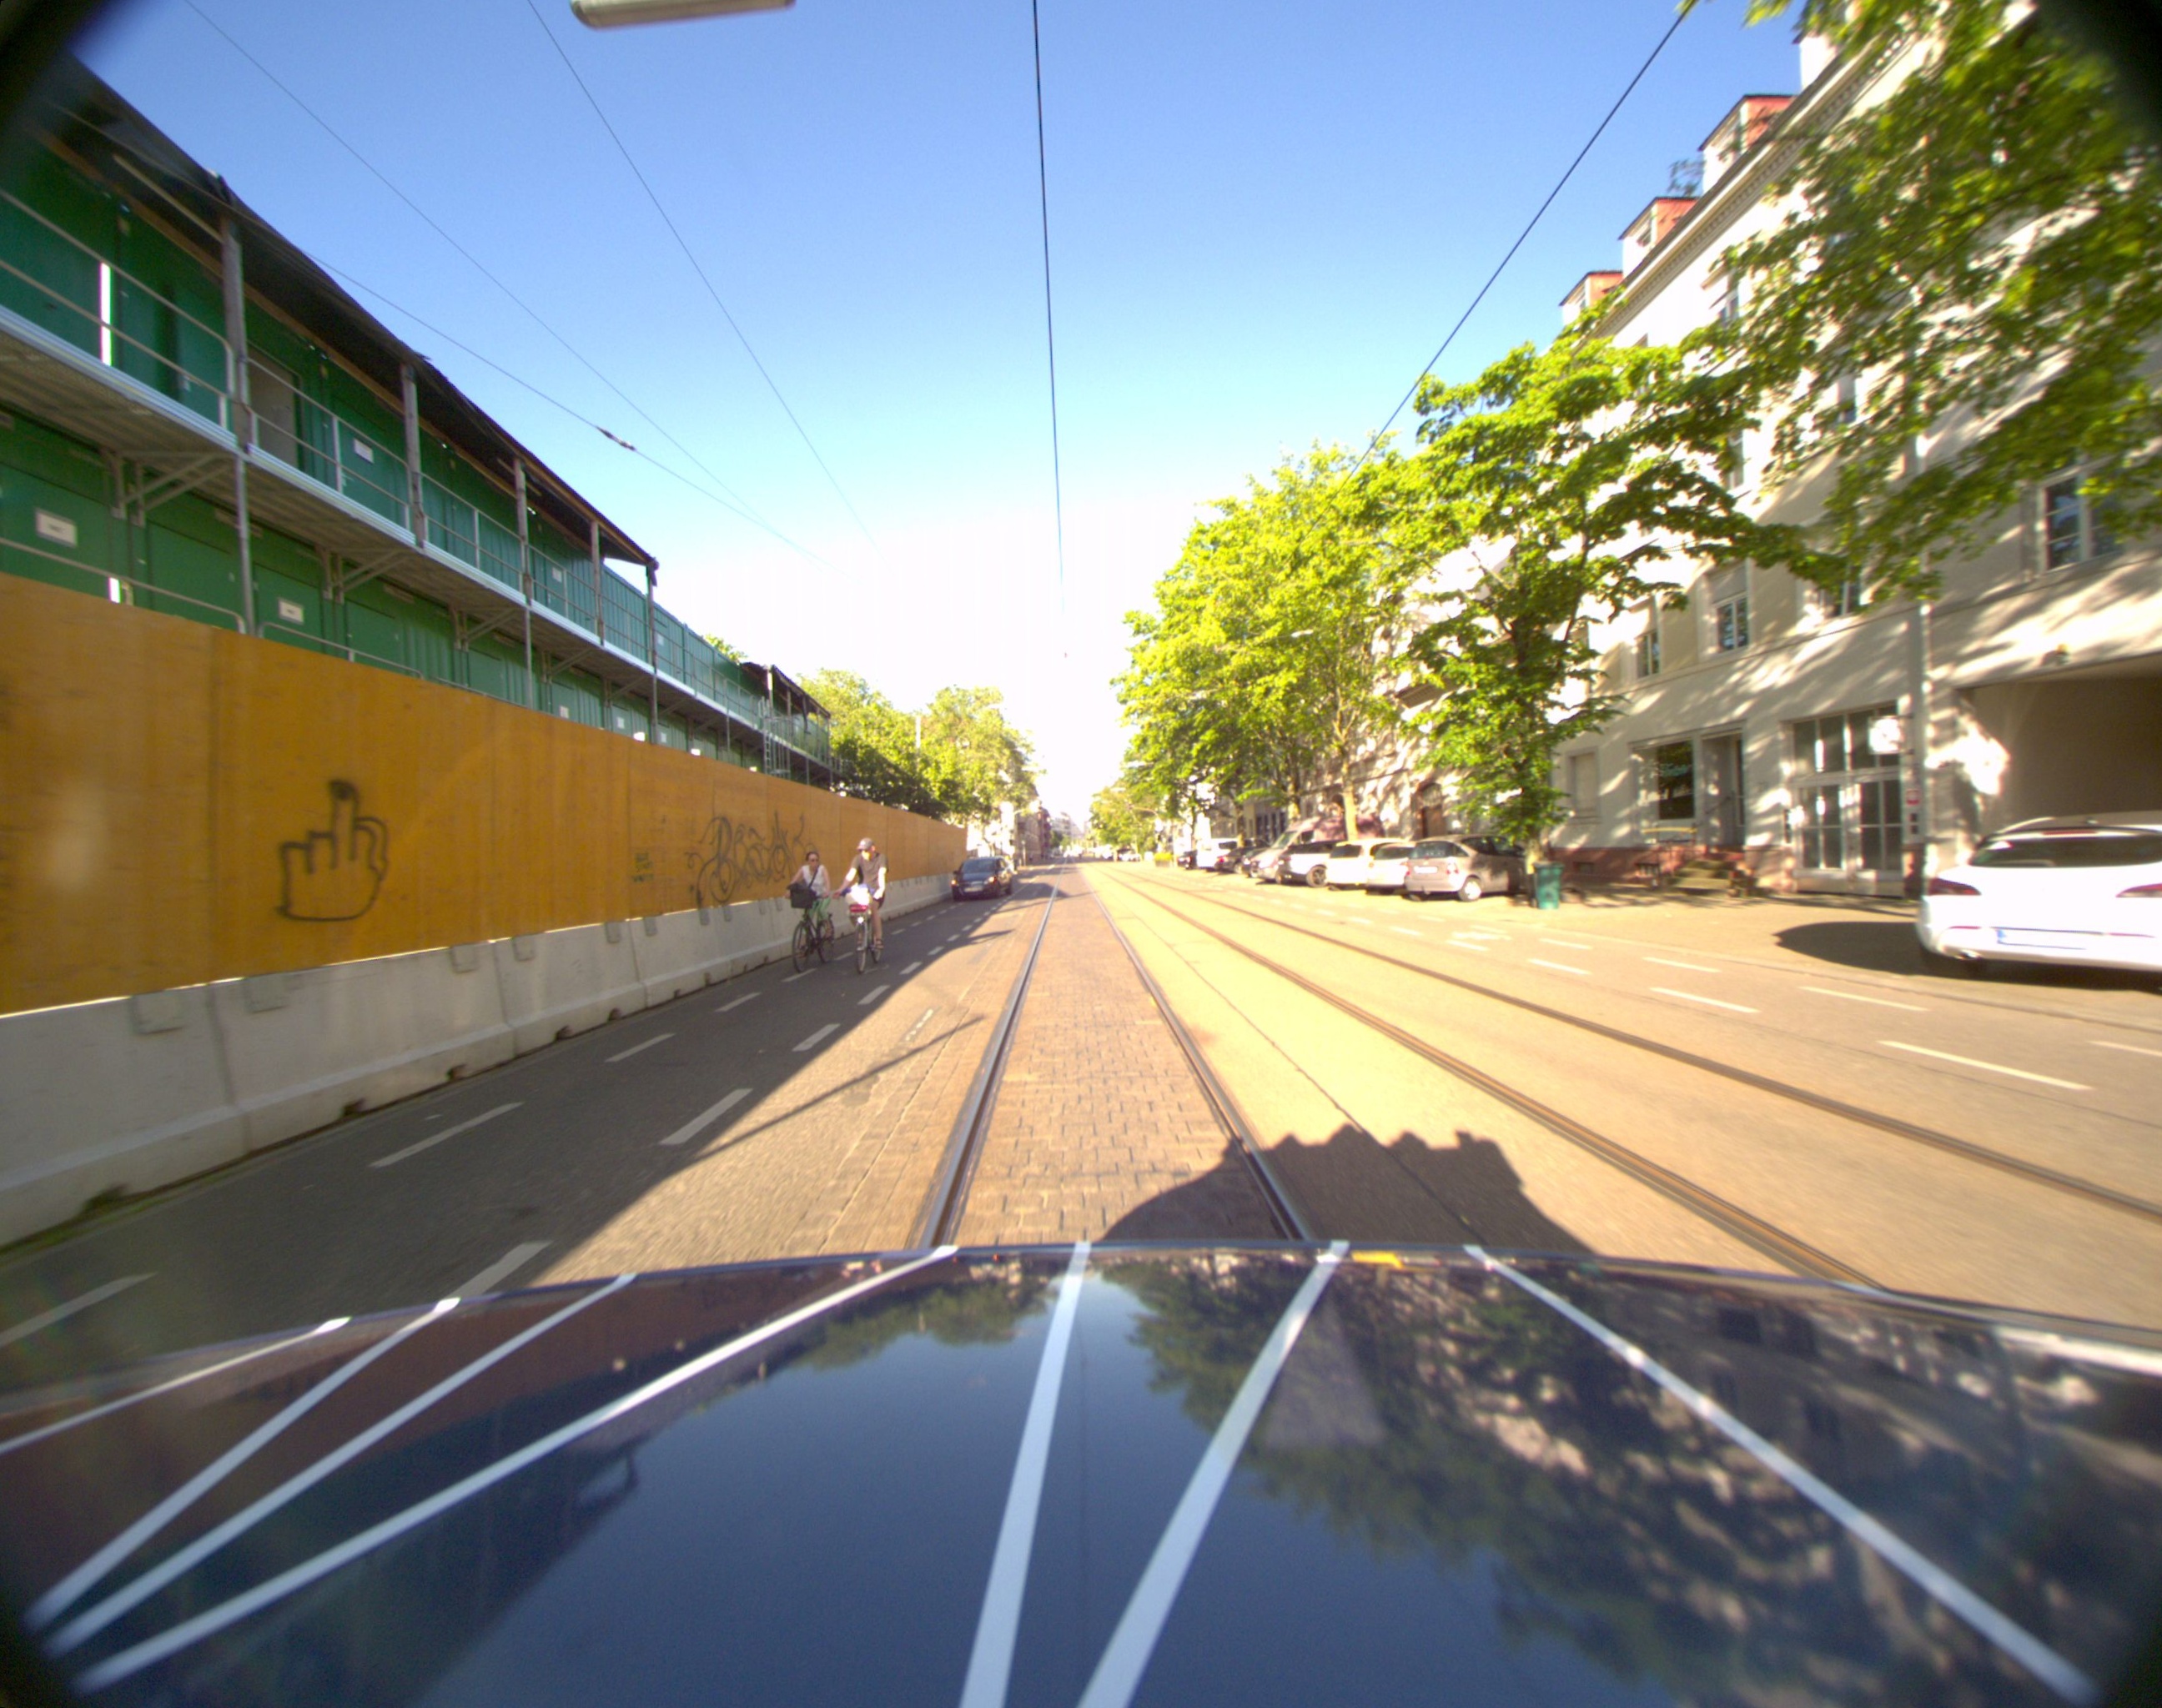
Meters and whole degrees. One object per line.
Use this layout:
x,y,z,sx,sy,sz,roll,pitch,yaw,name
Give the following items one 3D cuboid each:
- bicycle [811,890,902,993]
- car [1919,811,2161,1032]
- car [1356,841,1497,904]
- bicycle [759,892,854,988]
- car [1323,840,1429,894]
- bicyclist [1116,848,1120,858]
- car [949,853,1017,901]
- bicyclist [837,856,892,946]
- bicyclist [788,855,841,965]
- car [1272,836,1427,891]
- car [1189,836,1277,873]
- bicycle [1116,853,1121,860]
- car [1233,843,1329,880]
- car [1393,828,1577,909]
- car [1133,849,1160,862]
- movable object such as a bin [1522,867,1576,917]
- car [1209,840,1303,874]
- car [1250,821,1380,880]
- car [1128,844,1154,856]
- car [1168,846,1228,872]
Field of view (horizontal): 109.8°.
-3.096,1.156,10.707,0.669,1.148,2.275,-4,0,-4,bicycle
9.865,0.462,6.824,3.650,1.521,1.883,-5,2,-20,car
9.767,0.466,21.362,4.179,1.543,1.698,-2,1,-35,car
-3.974,1.200,11.206,0.558,1.120,2.275,-3,0,-1,bicycle
9.535,0.386,24.495,3.380,1.544,1.381,-2,1,-31,car
5.192,-0.141,106.860,0.419,1.462,0.590,-1,1,-4,bicyclist
-3.695,0.820,29.393,1.749,1.612,4.170,-4,0,3,car
-3.066,0.660,10.808,0.653,1.230,0.353,-1,1,-3,bicyclist
-3.993,0.821,11.414,0.557,1.603,0.576,-1,1,-3,bicyclist
9.710,0.325,27.766,4.842,1.714,2.163,-2,1,-3,car
9.268,0.026,46.412,4.946,2.002,2.071,-2,1,-24,car
5.203,0.373,106.820,0.451,0.931,1.757,-1,0,-5,bicycle
9.615,0.349,36.574,4.101,1.445,1.668,-4,1,-16,car
9.850,0.321,18.532,4.003,1.667,1.700,-3,1,-21,car
8.550,0.214,98.912,3.337,1.446,1.496,-3,2,1,car
9.288,0.749,15.096,0.623,0.939,0.670,-2,1,-2,movable object such as a bin
9.839,0.188,42.822,4.708,1.567,1.953,-4,0,-5,car
9.314,-0.146,30.482,4.449,2.106,2.163,-3,1,-3,car
8.144,-0.552,103.709,3.337,1.446,1.496,-3,2,1,car
8.444,0.354,54.636,4.005,1.549,1.777,-4,1,-31,car
